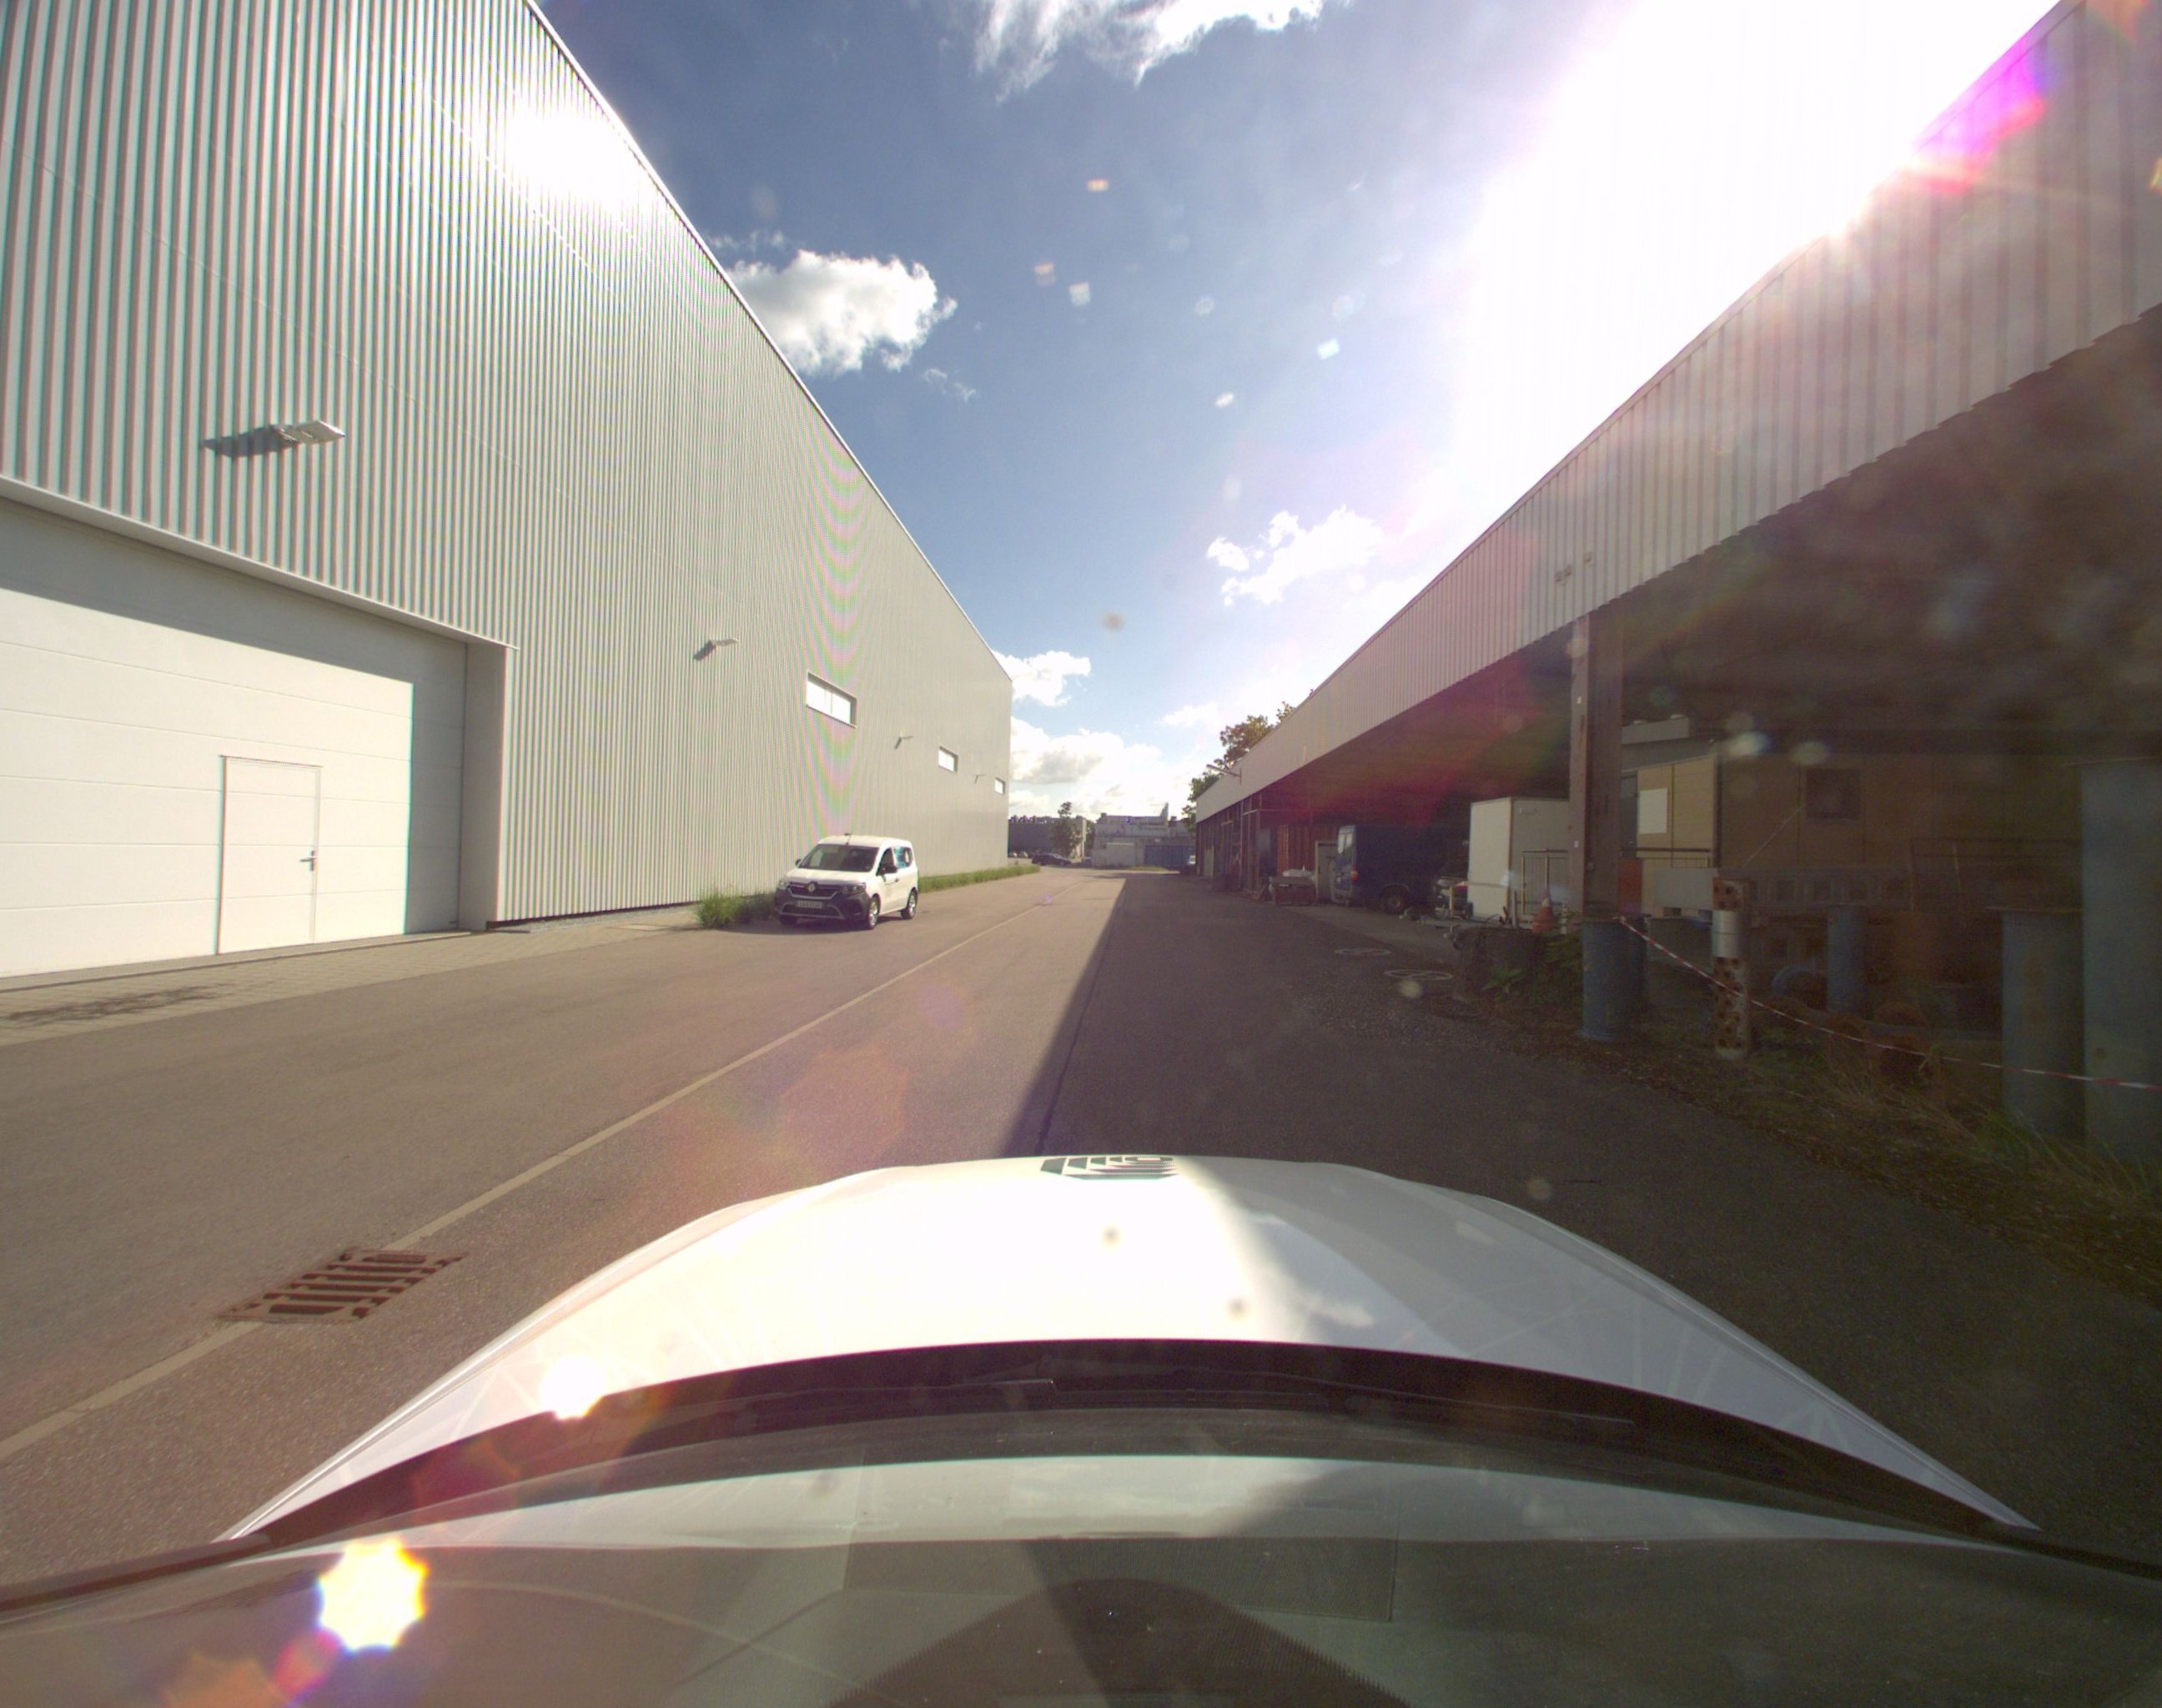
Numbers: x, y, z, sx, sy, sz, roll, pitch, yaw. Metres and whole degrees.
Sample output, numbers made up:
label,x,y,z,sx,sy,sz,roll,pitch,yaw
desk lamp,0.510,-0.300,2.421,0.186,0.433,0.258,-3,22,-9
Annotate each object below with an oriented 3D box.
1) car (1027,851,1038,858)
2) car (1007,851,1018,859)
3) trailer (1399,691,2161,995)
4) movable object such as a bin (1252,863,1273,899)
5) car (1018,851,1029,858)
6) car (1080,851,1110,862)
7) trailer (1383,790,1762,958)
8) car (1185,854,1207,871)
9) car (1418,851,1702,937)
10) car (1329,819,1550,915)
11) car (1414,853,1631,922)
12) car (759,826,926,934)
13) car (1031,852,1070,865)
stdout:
label,x,y,z,sx,sy,sz,roll,pitch,yaw
car,-11.570,0.117,195.223,2.184,1.736,4.003,-1,-1,3
car,-16.596,0.238,196.845,1.985,1.736,4.003,-1,-1,3
trailer,9.504,-0.127,10.119,9.995,3.216,2.856,0,0,3
movable object such as a bin,6.084,0.900,27.281,0.578,1.164,1.241,0,0,8
car,-14.002,0.185,197.059,2.184,1.736,4.003,-1,-1,3
car,2.237,0.401,126.557,4.505,1.508,1.911,1,0,4
trailer,7.423,0.266,12.770,4.785,2.391,1.831,0,0,8
car,12.060,0.905,85.617,1.985,1.585,4.176,1,1,3
car,8.869,0.711,15.344,4.313,1.496,1.777,0,0,1
car,9.273,0.318,21.432,4.957,2.325,2.002,1,0,3
car,9.879,0.728,18.429,3.975,1.472,1.787,0,0,-1
car,-4.727,0.470,16.891,1.882,1.845,4.362,3,0,3
car,-3.672,0.556,99.195,4.504,1.508,1.911,0,0,5
